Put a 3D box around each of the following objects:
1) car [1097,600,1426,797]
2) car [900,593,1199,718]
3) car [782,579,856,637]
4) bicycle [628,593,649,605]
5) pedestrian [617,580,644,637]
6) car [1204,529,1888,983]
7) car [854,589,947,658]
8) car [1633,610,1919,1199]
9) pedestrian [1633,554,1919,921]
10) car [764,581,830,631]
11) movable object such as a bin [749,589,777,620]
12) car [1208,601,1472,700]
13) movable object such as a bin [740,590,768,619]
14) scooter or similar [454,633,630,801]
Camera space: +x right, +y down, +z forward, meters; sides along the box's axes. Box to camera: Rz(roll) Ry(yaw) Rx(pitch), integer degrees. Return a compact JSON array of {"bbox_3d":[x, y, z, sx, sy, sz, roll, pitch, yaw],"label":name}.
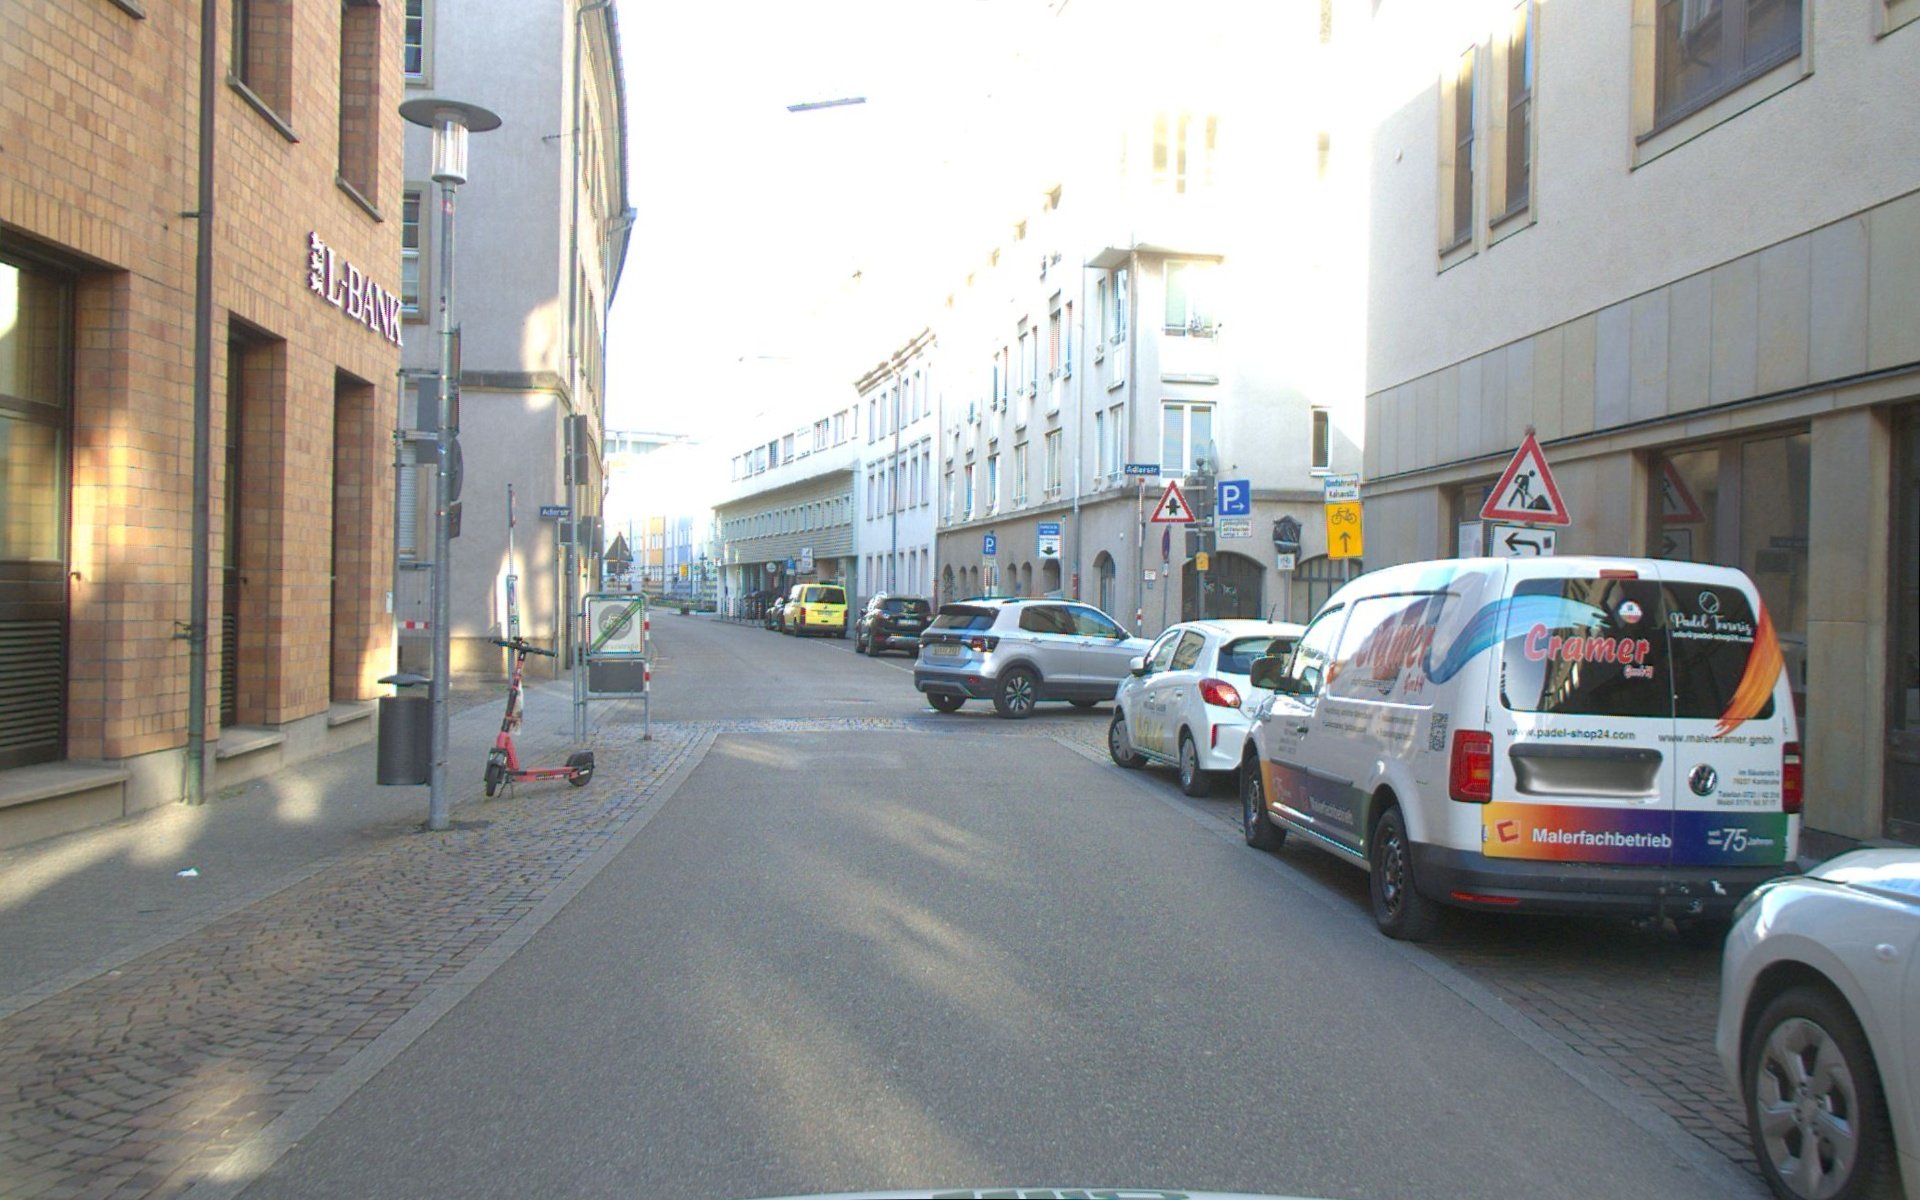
[{"bbox_3d":[2.634,0.811,15.457,1.852,1.545,4.056,1,0,-8],"label":"car"},{"bbox_3d":[1.290,0.711,23.106,3.957,1.589,1.818,0,0,-37],"label":"car"},{"bbox_3d":[-5.279,0.280,61.386,2.018,2.049,4.158,1,0,-15],"label":"car"},{"bbox_3d":[-28.925,-0.087,148.789,1.752,1.018,0.544,1,0,-17],"label":"bicycle"},{"bbox_3d":[-10.234,0.272,51.361,0.753,1.754,0.684,1,0,-16],"label":"pedestrian"},{"bbox_3d":[2.815,0.648,9.436,1.794,1.822,5.211,2,0,-3],"label":"car"},{"bbox_3d":[-1.684,0.597,45.109,1.932,1.721,4.091,2,0,-10],"label":"car"},{"bbox_3d":[3.150,0.849,3.142,1.804,1.503,4.165,3,0,-3],"label":"car"},{"bbox_3d":[4.408,0.699,8.918,1.021,1.833,1.198,1,-1,-3],"label":"pedestrian"},{"bbox_3d":[-6.629,0.218,67.100,2.019,1.905,4.084,1,0,-15],"label":"car"},{"bbox_3d":[-10.173,0.218,85.360,1.114,1.585,1.730,1,0,-19],"label":"movable object such as a bin"},{"bbox_3d":[6.646,0.867,29.168,4.133,1.580,1.900,2,0,-5],"label":"car"},{"bbox_3d":[-10.831,0.225,87.026,1.114,1.505,1.730,1,0,-19],"label":"movable object such as a bin"},{"bbox_3d":[-3.337,0.902,13.315,0.684,1.239,1.356,0,0,24],"label":"scooter or similar"}]
